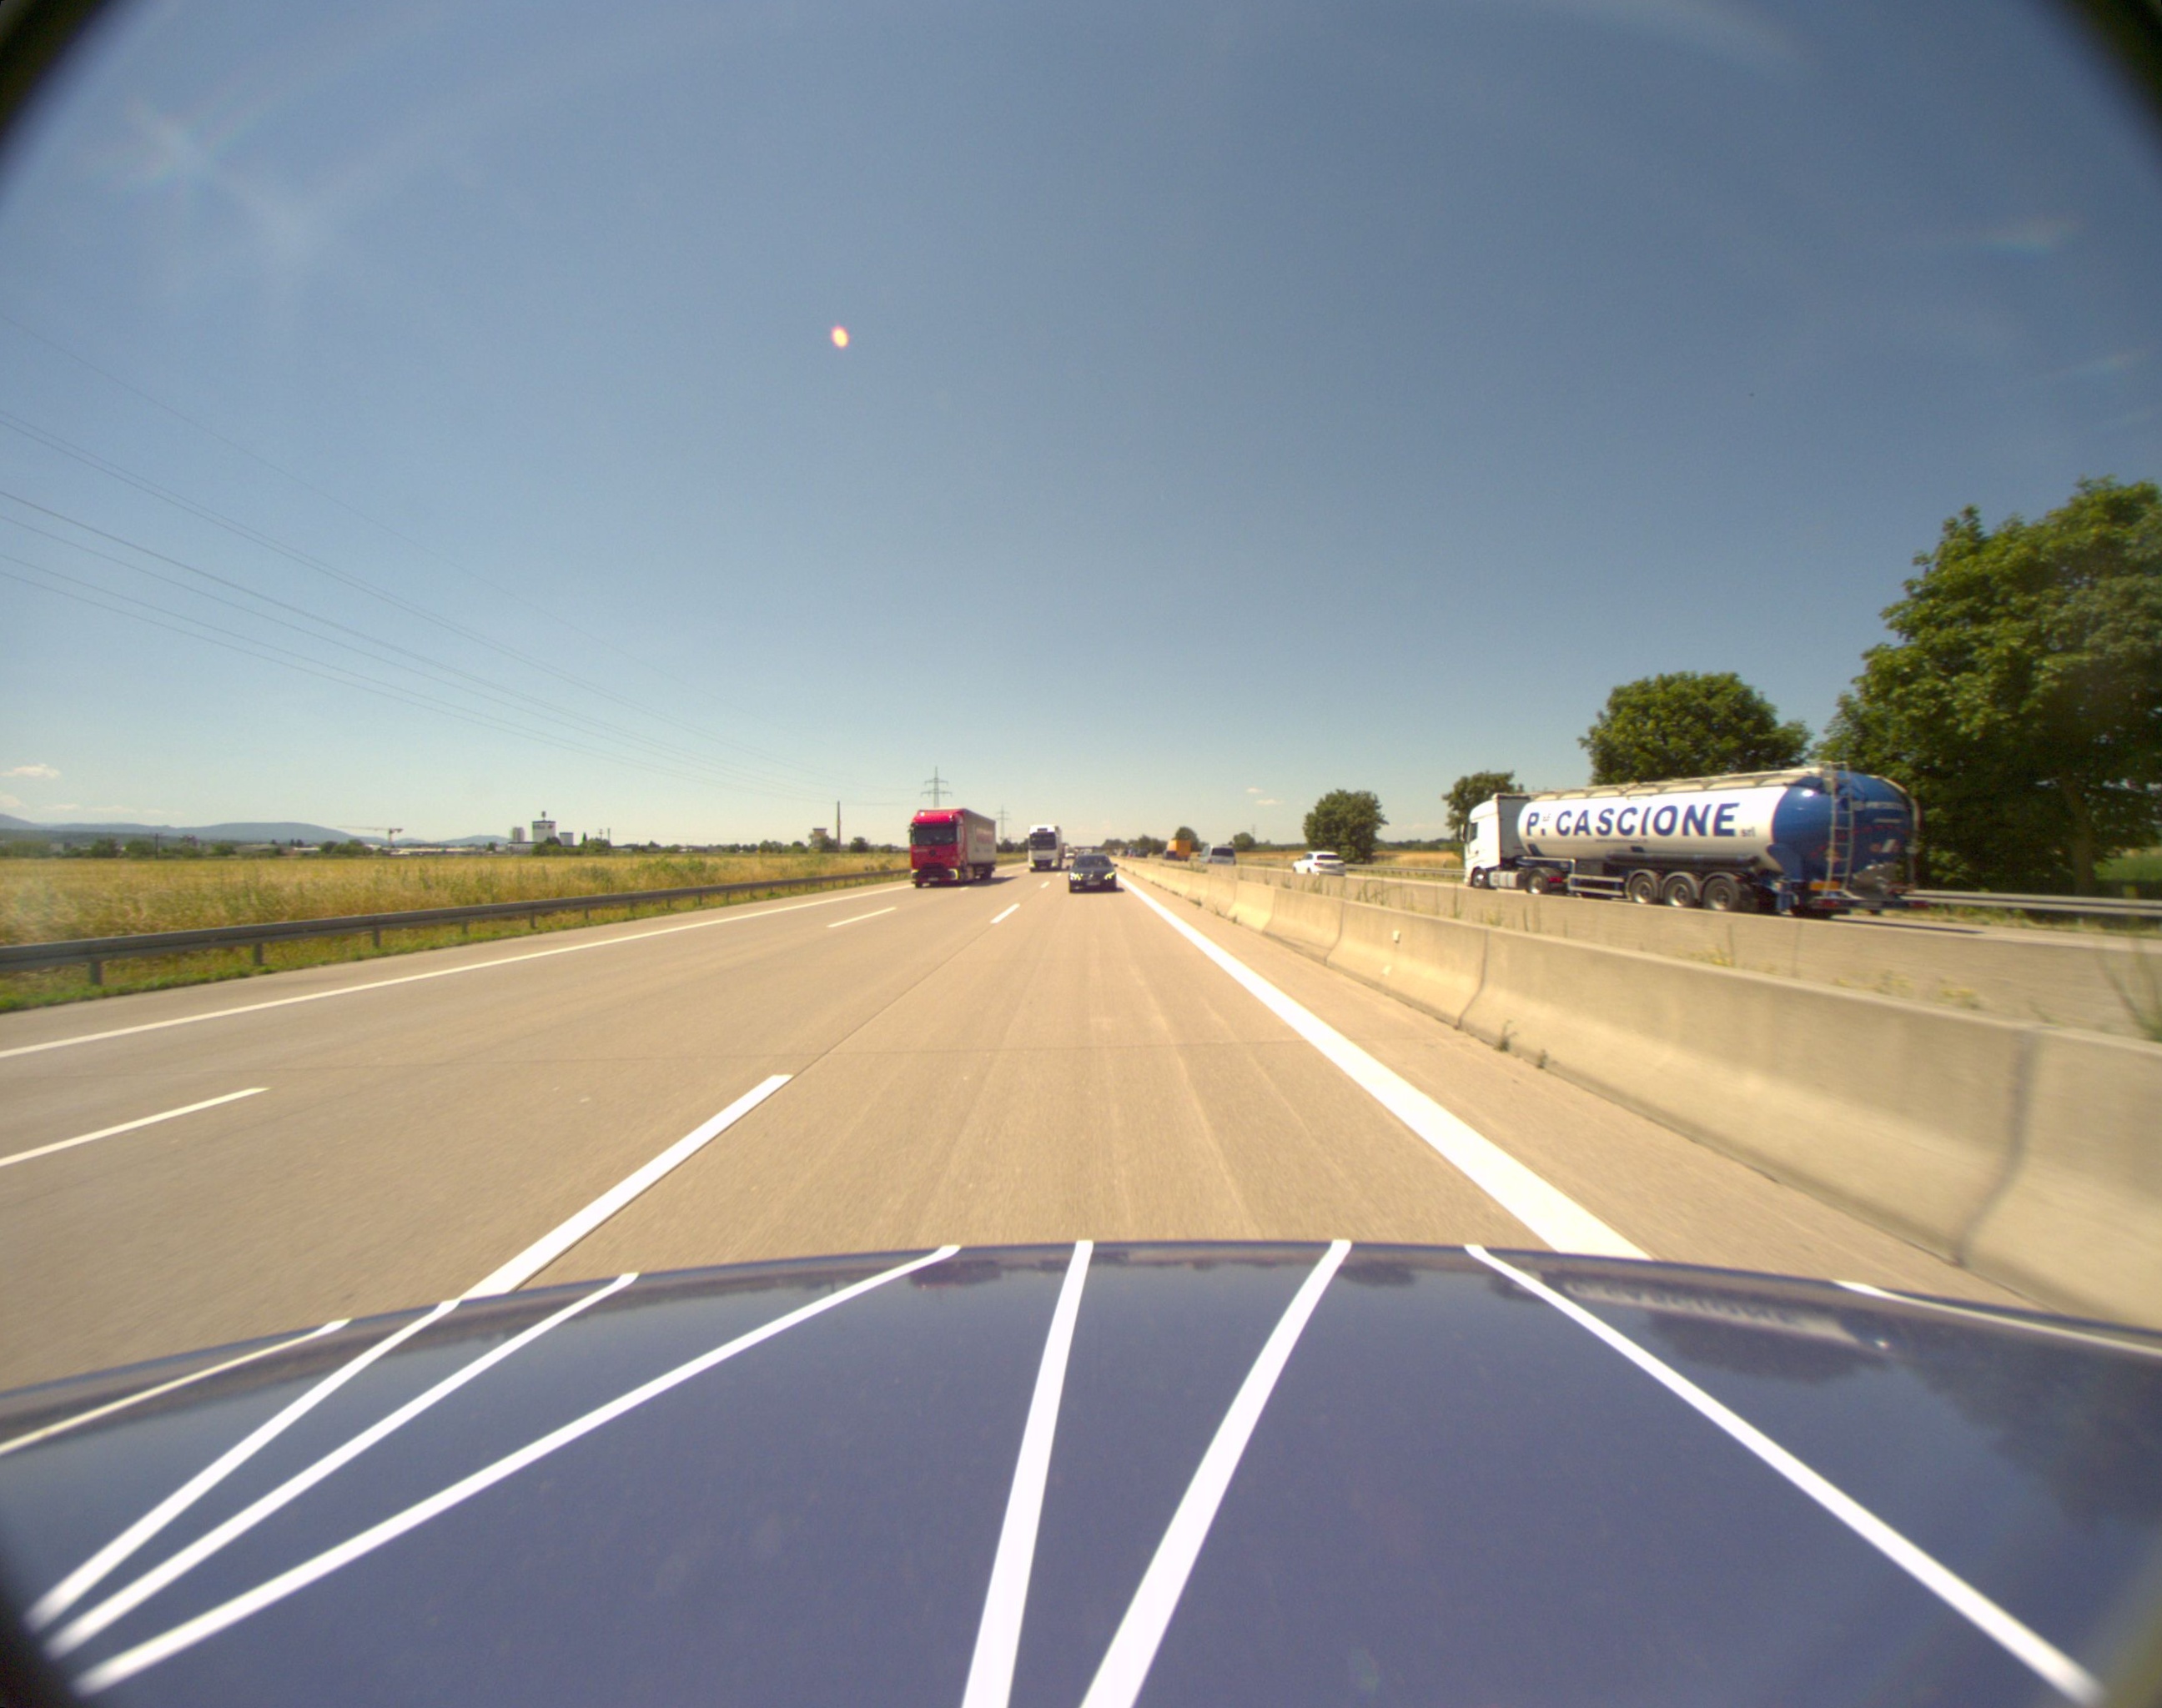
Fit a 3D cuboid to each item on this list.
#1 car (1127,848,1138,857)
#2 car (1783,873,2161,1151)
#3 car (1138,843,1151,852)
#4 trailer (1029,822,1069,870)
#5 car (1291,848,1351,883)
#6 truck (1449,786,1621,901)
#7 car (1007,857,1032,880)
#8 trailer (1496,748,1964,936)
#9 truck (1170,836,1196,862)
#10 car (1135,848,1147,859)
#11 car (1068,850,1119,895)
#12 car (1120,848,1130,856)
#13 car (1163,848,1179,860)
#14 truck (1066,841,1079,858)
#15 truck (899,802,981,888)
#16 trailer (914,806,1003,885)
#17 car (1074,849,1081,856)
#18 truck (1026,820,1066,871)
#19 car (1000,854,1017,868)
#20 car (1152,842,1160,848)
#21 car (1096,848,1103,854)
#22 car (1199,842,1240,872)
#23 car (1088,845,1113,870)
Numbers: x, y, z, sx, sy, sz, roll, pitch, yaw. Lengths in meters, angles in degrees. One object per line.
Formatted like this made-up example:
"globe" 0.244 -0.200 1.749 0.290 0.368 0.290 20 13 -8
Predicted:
"car" 10.673 -0.263 158.881 1.998 1.781 4.300 -2 1 1
"car" 8.601 1.171 5.325 1.998 1.781 5.844 -2 1 1
"car" 19.750 -2.034 237.739 3.421 2.865 6.191 -2 1 1
"trailer" -2.922 -0.765 72.523 2.959 4.122 12.024 -2 1 1
"car" 13.397 0.570 42.605 1.998 1.781 4.300 -2 1 1
"truck" 17.208 -0.397 29.407 2.663 3.946 6.619 0 1 0
"car" -5.891 1.337 73.379 1.998 2.002 3.999 -2 1 1
"trailer" 17.206 -0.325 22.498 2.684 3.946 13.005 0 1 0
"truck" 18.785 -0.907 140.914 3.421 4.469 9.999 -2 1 1
"car" 11.145 -0.091 141.834 1.998 1.781 4.300 -2 1 1
"car" 0.499 0.672 30.211 1.848 1.576 3.939 -2 1 1
"car" 10.814 -0.585 187.256 1.998 1.781 4.300 -2 1 1
"car" 14.165 0.044 119.356 1.998 1.781 4.300 -2 1 1
"truck" -2.119 -1.084 193.311 2.959 4.122 10.016 -2 1 1
"truck" -7.343 -0.459 40.450 2.959 4.122 6.151 -2 1 1
"trailer" -7.248 -0.539 47.315 2.959 4.122 13.808 -2 1 1
"car" -0.951 -0.471 217.628 1.998 1.781 4.300 -2 1 1
"truck" -2.966 -0.717 66.541 2.959 4.122 6.151 -2 1 1
"car" -11.103 1.058 116.392 1.998 2.002 3.999 -2 1 1
"car" 23.187 -2.688 235.848 1.998 1.781 4.300 -2 1 1
"car" 5.759 -0.880 231.139 1.998 1.781 4.300 -2 1 1
"car" 9.258 0.183 50.987 1.998 1.893 3.999 -2 1 1
"car" 1.617 0.304 65.008 1.998 2.002 4.000 -2 1 1
